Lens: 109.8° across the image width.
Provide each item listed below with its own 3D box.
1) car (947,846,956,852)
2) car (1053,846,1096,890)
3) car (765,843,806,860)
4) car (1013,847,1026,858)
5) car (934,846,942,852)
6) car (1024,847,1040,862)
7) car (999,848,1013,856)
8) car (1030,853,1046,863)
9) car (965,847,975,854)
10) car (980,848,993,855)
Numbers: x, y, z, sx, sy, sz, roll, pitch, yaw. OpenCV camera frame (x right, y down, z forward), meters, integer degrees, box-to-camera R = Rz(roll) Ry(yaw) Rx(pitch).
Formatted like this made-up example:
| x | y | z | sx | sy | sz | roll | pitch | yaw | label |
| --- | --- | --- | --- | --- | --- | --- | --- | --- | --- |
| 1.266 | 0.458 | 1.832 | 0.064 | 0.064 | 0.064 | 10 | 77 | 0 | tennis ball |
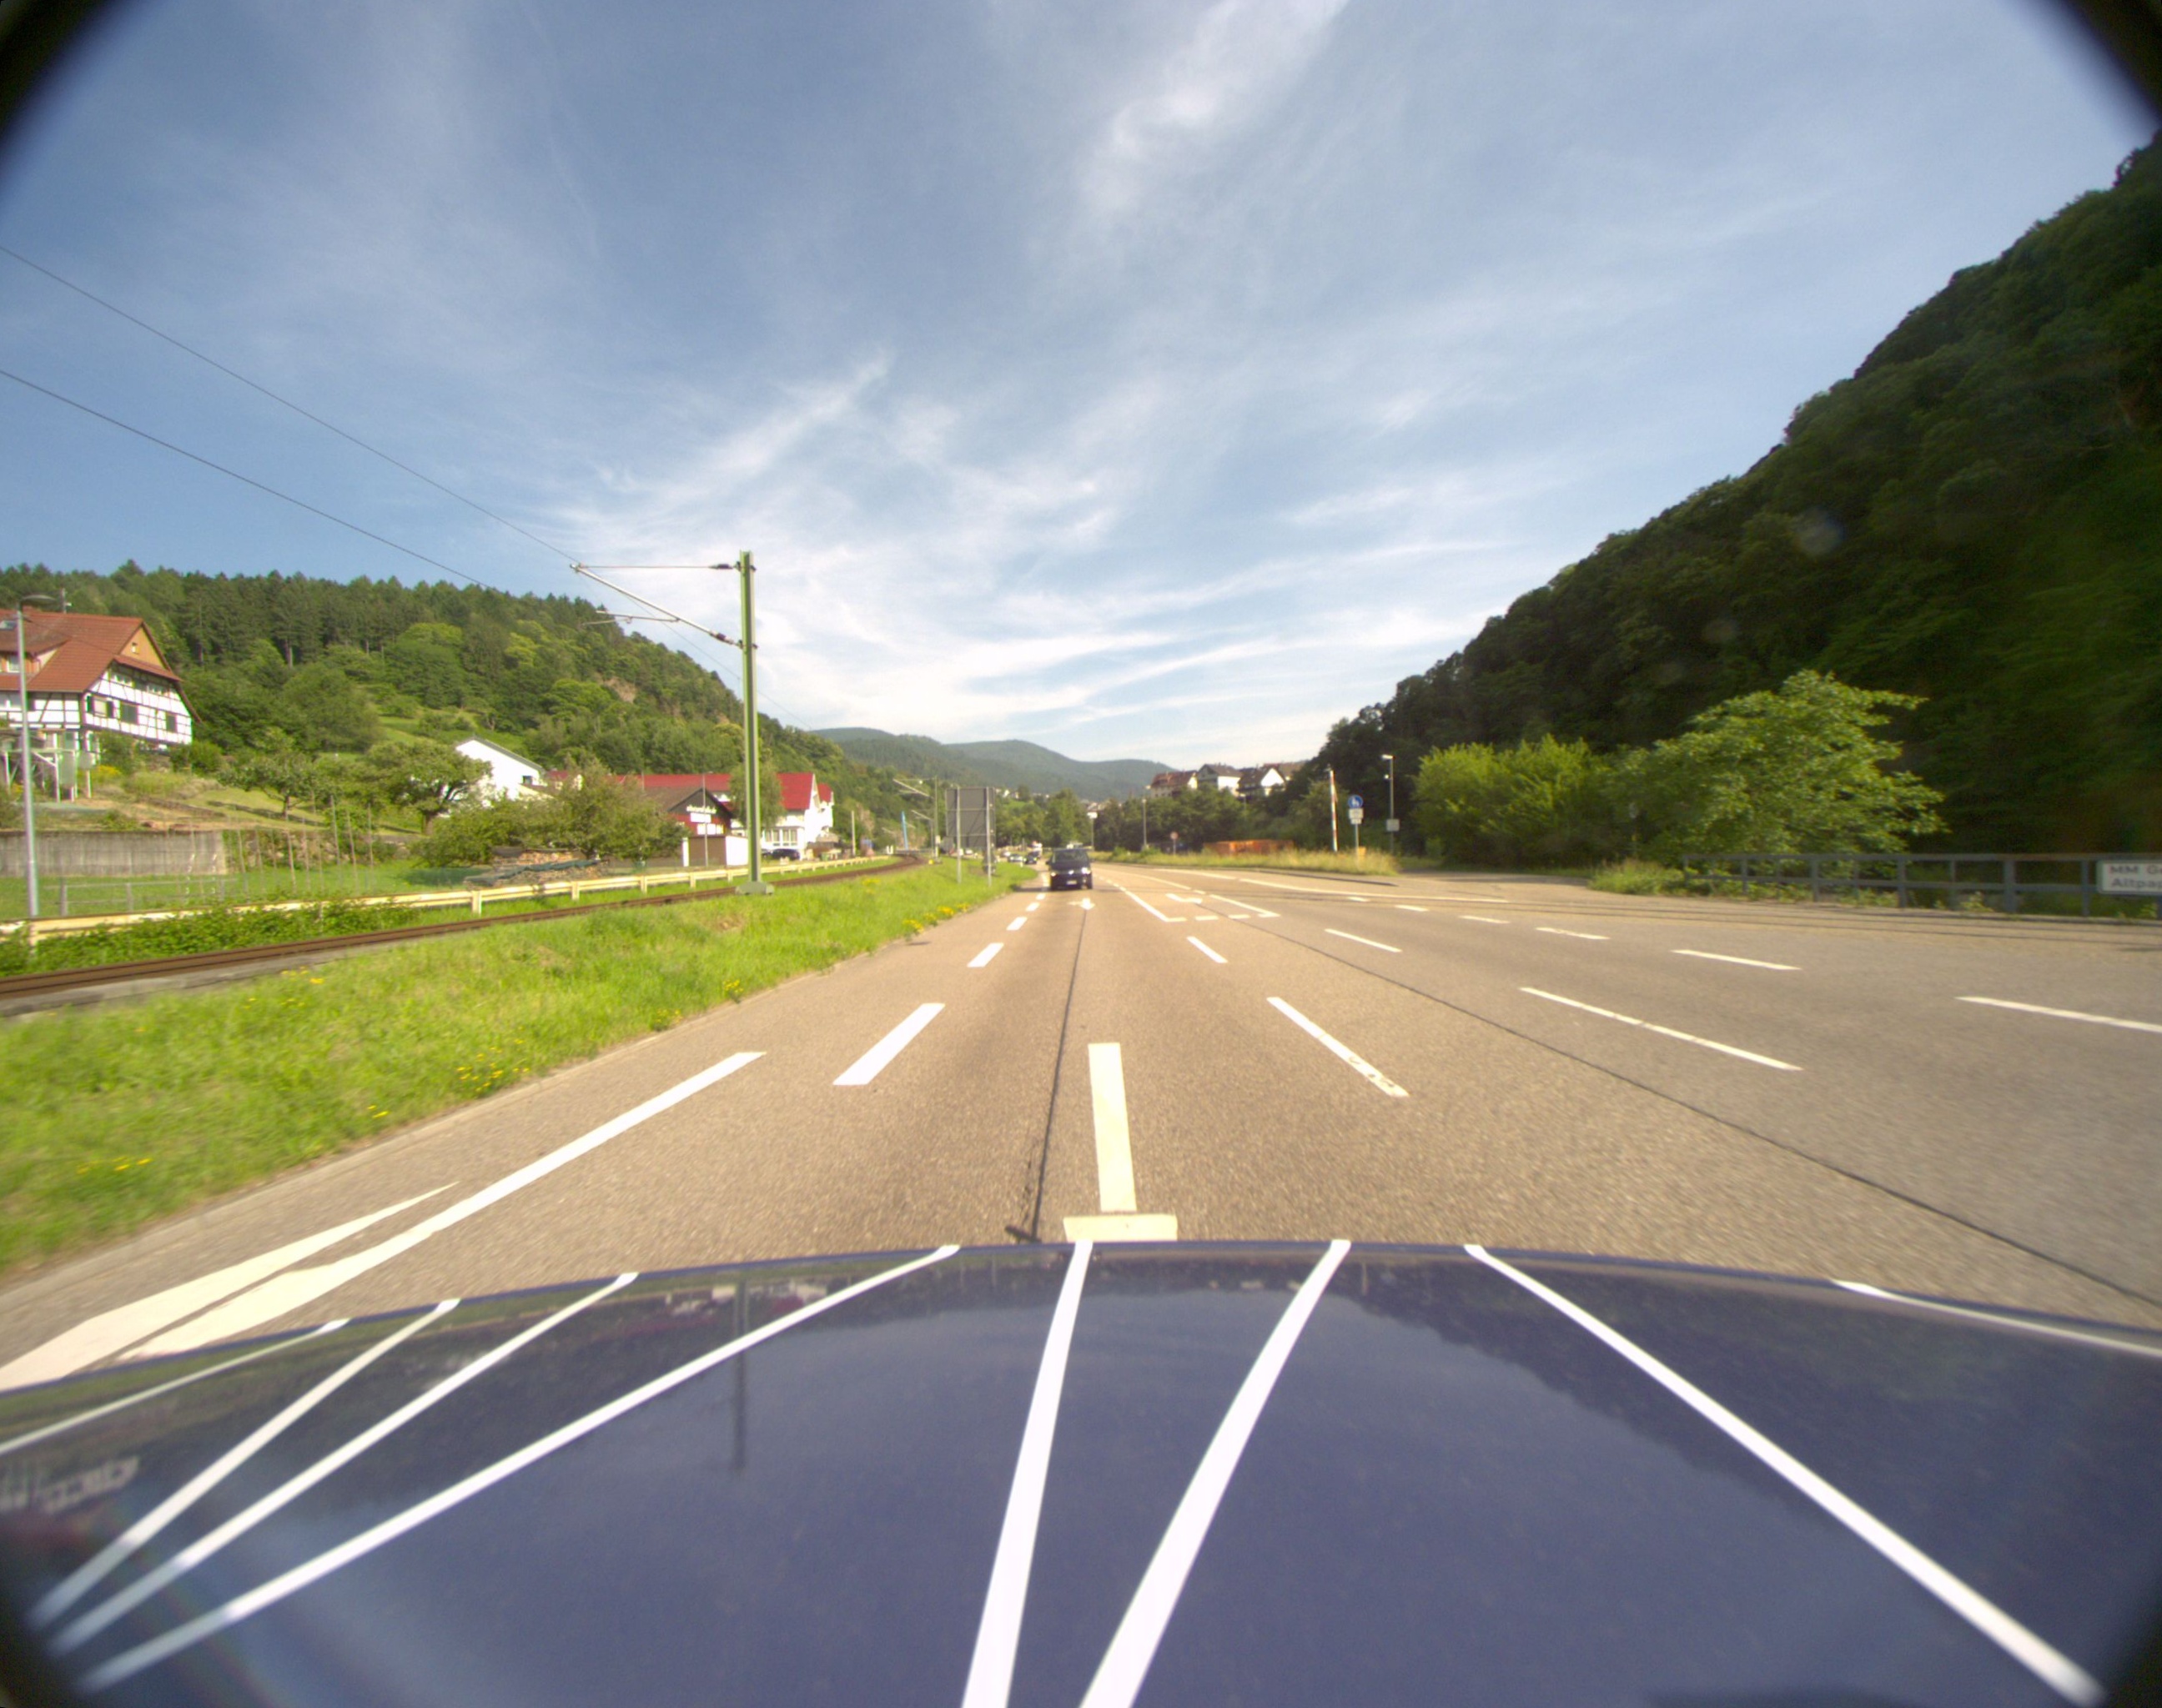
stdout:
| x | y | z | sx | sy | sz | roll | pitch | yaw | label |
| --- | --- | --- | --- | --- | --- | --- | --- | --- | --- |
| -38.014 | -1.595 | 223.420 | 2.002 | 1.652 | 3.993 | -3 | 1 | -19 | car |
| -0.267 | 0.578 | 35.678 | 1.865 | 1.936 | 4.637 | 0 | 1 | 1 | car |
| -34.350 | -0.279 | 88.366 | 3.998 | 1.762 | 1.830 | -2 | 1 | -4 | car |
| -10.113 | -0.245 | 124.965 | 1.729 | 1.815 | 3.850 | -2 | 1 | -9 | car |
| -48.089 | -1.664 | 254.937 | 1.923 | 1.652 | 3.993 | -3 | 1 | -19 | car |
| -6.773 | 0.095 | 104.479 | 1.999 | 2.002 | 3.998 | -1 | 0 | -5 | car |
| -15.976 | -0.336 | 161.569 | 1.871 | 1.652 | 3.993 | -3 | 1 | -19 | car |
| -7.418 | 0.649 | 130.279 | 2.001 | 1.652 | 3.994 | -2 | 1 | -15 | car |
| -29.596 | -0.905 | 202.482 | 1.726 | 1.652 | 3.994 | -3 | 1 | -18 | car |
| -22.579 | -0.529 | 181.232 | 2.002 | 1.652 | 3.993 | -3 | 1 | -20 | car |
